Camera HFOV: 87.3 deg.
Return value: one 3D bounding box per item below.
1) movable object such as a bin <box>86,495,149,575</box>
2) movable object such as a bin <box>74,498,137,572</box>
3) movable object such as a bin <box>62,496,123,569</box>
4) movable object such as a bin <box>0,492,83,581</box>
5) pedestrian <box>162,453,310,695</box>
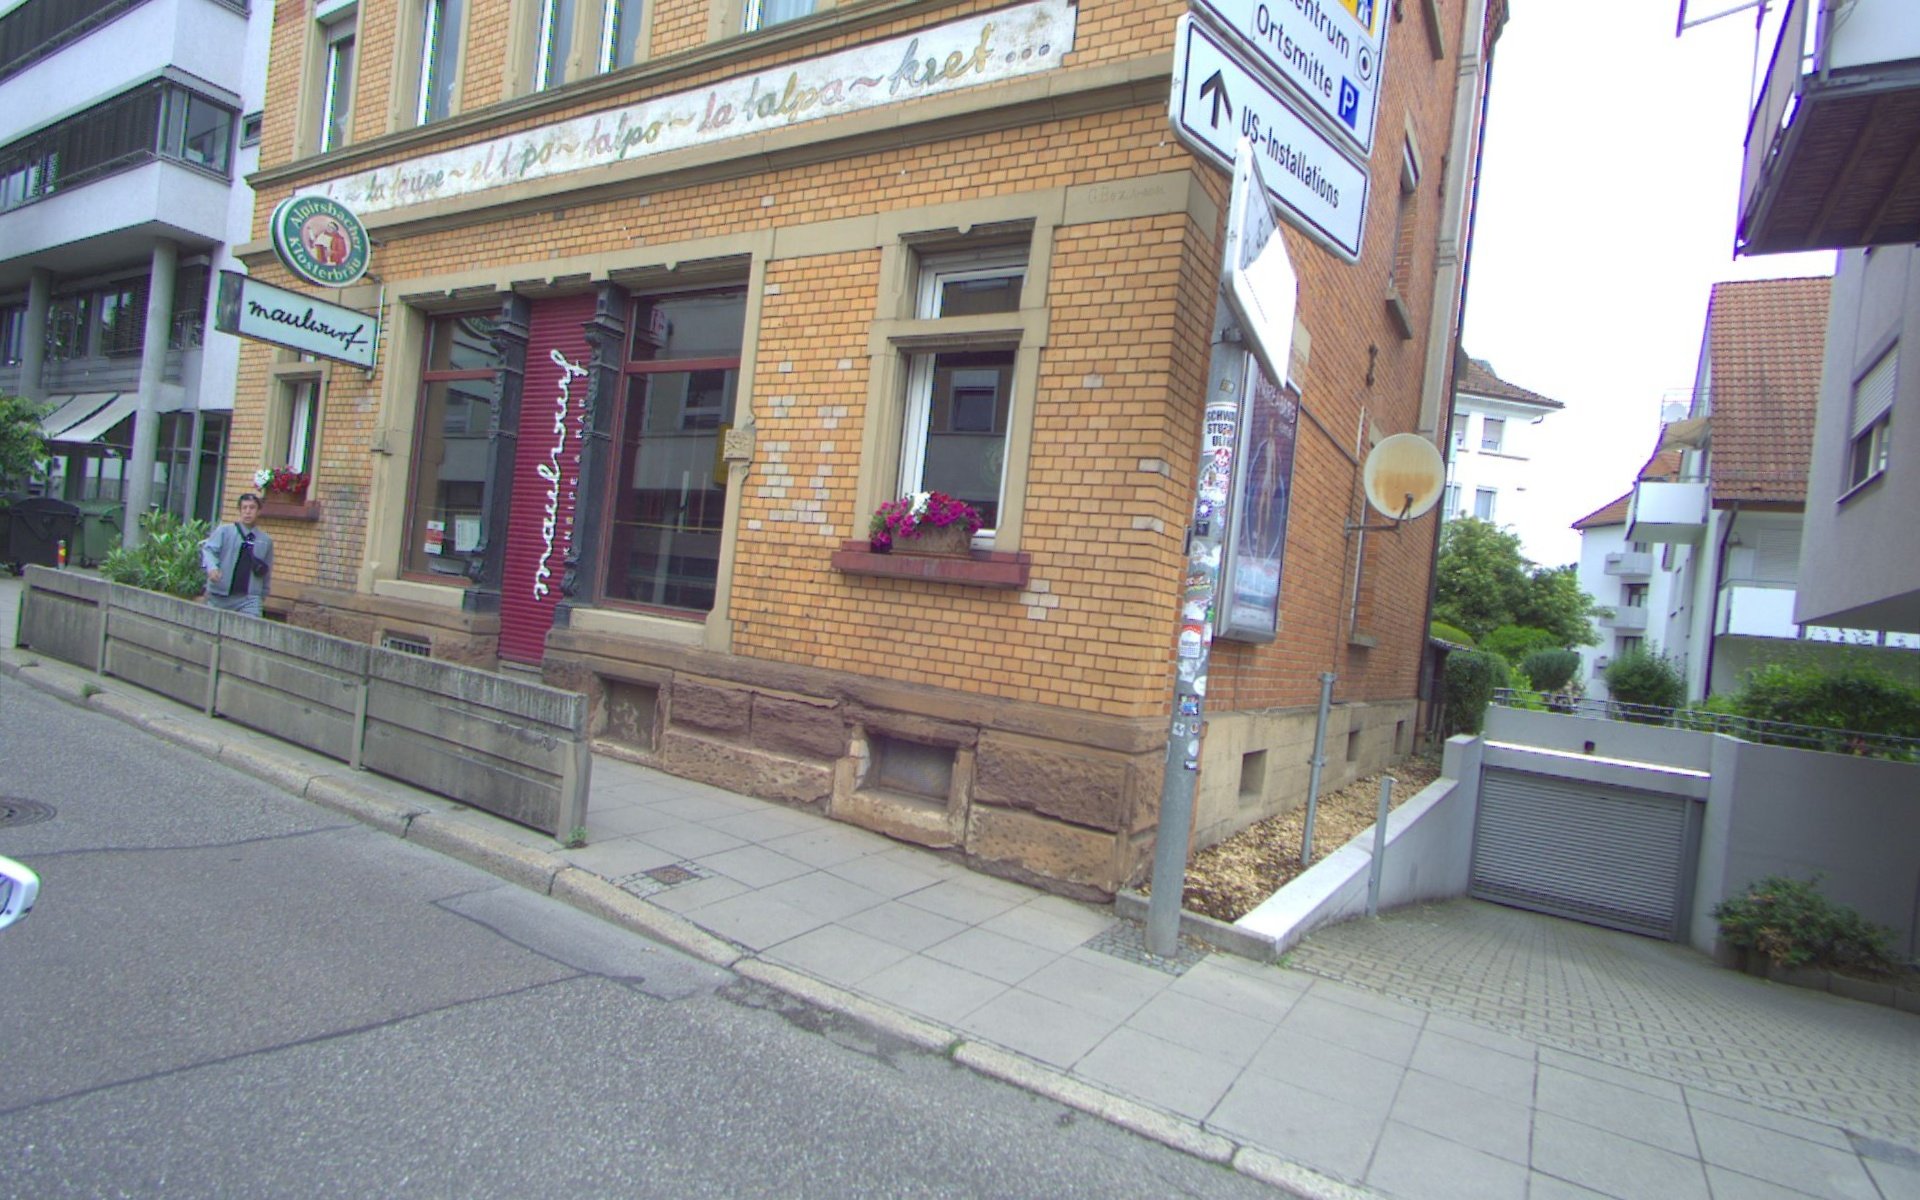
[{"bbox_3d":[-18.075,-1.389,21.588,0.720,1.611,0.821,6,2,33],"label":"movable object such as a bin"},{"bbox_3d":[-18.690,-1.417,22.008,0.720,1.510,0.821,5,2,33],"label":"movable object such as a bin"},{"bbox_3d":[-19.314,-1.493,22.408,0.720,1.524,0.821,5,2,33],"label":"movable object such as a bin"},{"bbox_3d":[-17.007,-1.175,18.419,1.421,1.489,0.944,6,2,29],"label":"movable object such as a bin"},{"bbox_3d":[-6.429,-0.219,8.942,0.665,2.038,0.694,7,1,30],"label":"pedestrian"}]
